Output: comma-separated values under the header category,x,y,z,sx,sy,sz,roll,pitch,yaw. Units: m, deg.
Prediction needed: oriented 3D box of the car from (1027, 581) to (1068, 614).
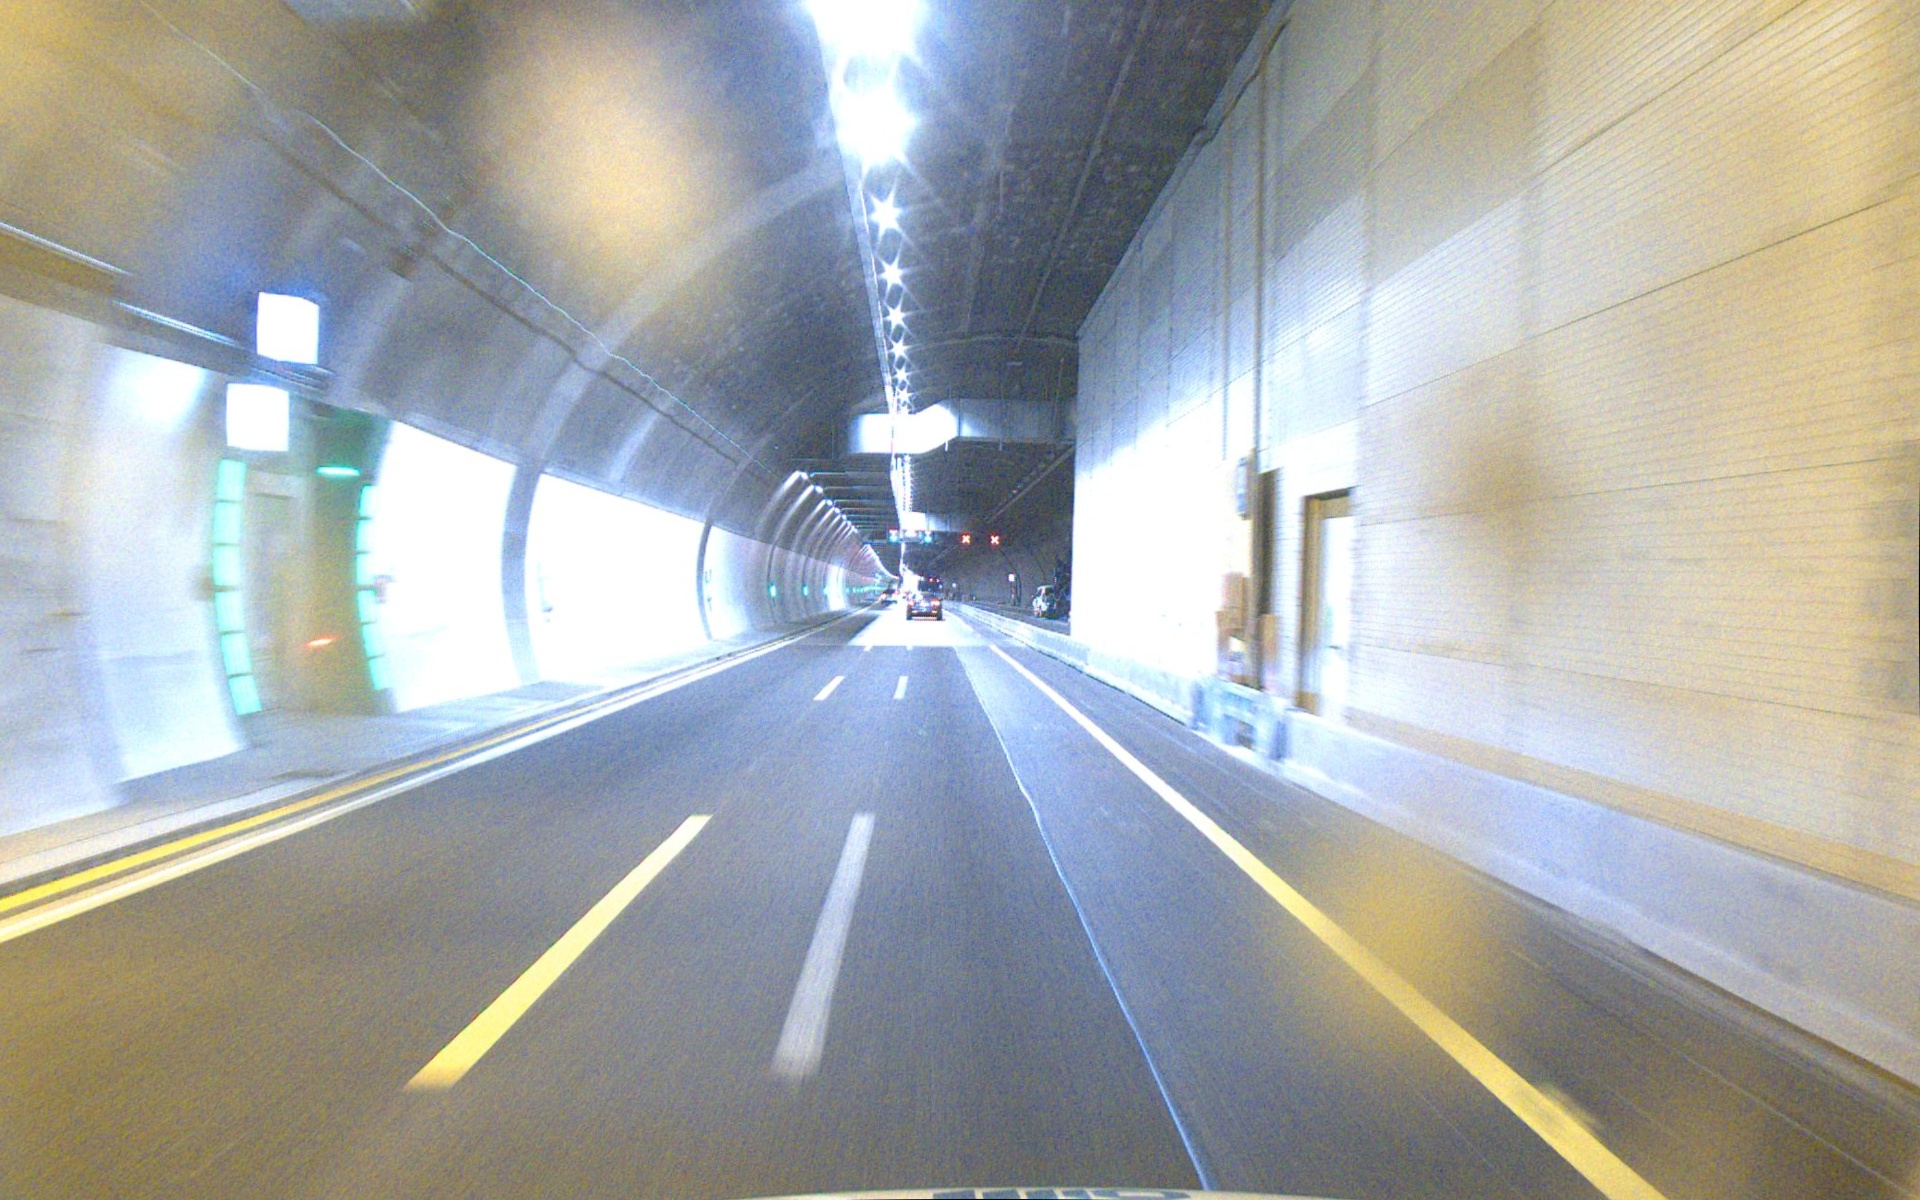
category,x,y,z,sx,sy,sz,roll,pitch,yaw
car,5.222,-0.170,98.993,1.717,1.877,4.639,-1,0,-6

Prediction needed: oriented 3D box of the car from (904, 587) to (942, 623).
category,x,y,z,sx,sy,sz,roll,pitch,yaw
car,-1.915,0.242,85.835,1.907,1.826,3.999,0,0,-2

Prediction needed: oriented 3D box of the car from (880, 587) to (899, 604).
category,x,y,z,sx,sy,sz,roll,pitch,yaw
car,-7.601,-0.499,178.540,1.891,1.716,3.999,0,0,-1
